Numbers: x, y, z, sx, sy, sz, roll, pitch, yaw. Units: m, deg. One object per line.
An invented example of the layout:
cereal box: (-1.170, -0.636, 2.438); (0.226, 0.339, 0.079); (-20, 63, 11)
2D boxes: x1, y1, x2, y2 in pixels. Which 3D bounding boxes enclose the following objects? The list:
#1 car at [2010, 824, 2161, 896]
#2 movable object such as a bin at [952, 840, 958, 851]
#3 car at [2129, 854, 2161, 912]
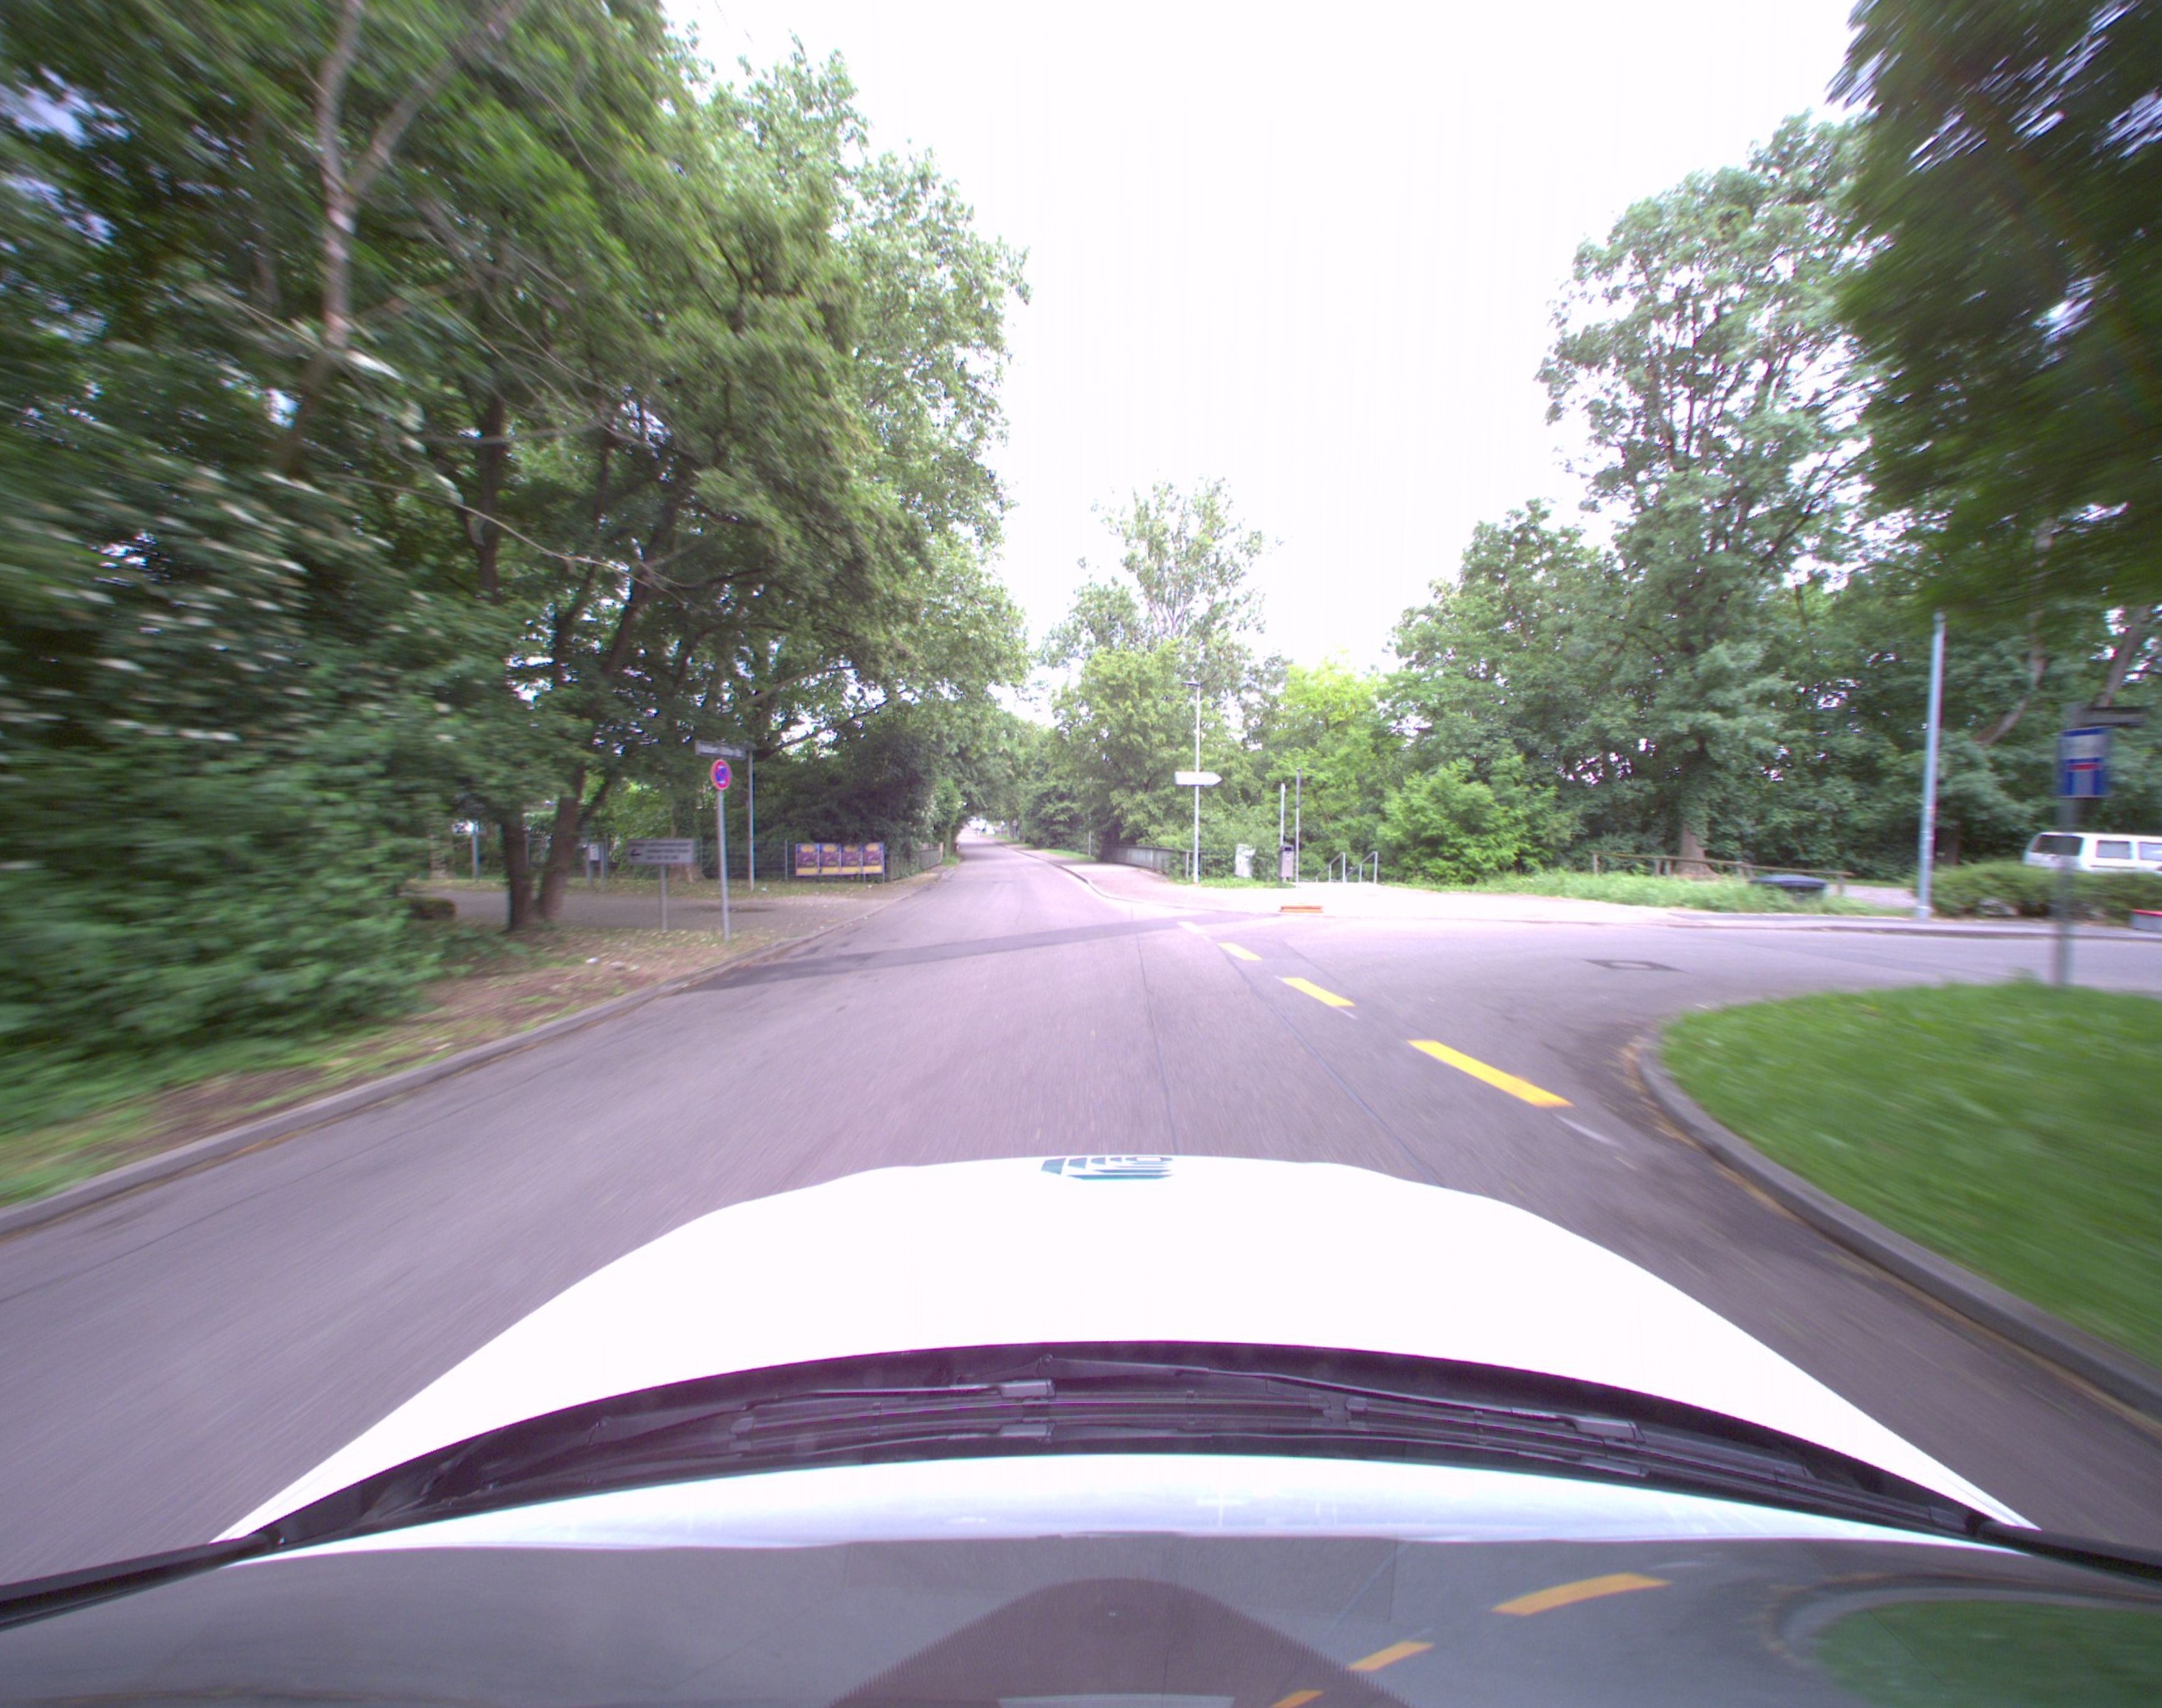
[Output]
car: (30.442, 0.166, 23.740); (4.184, 2.013, 2.004); (0, 0, 6)
movable object such as a bin: (-11.103, -0.756, 71.776); (0.590, 0.957, 0.468); (0, 0, -8)
car: (30.100, 0.760, 20.746); (4.184, 1.498, 1.803); (0, 0, 6)
